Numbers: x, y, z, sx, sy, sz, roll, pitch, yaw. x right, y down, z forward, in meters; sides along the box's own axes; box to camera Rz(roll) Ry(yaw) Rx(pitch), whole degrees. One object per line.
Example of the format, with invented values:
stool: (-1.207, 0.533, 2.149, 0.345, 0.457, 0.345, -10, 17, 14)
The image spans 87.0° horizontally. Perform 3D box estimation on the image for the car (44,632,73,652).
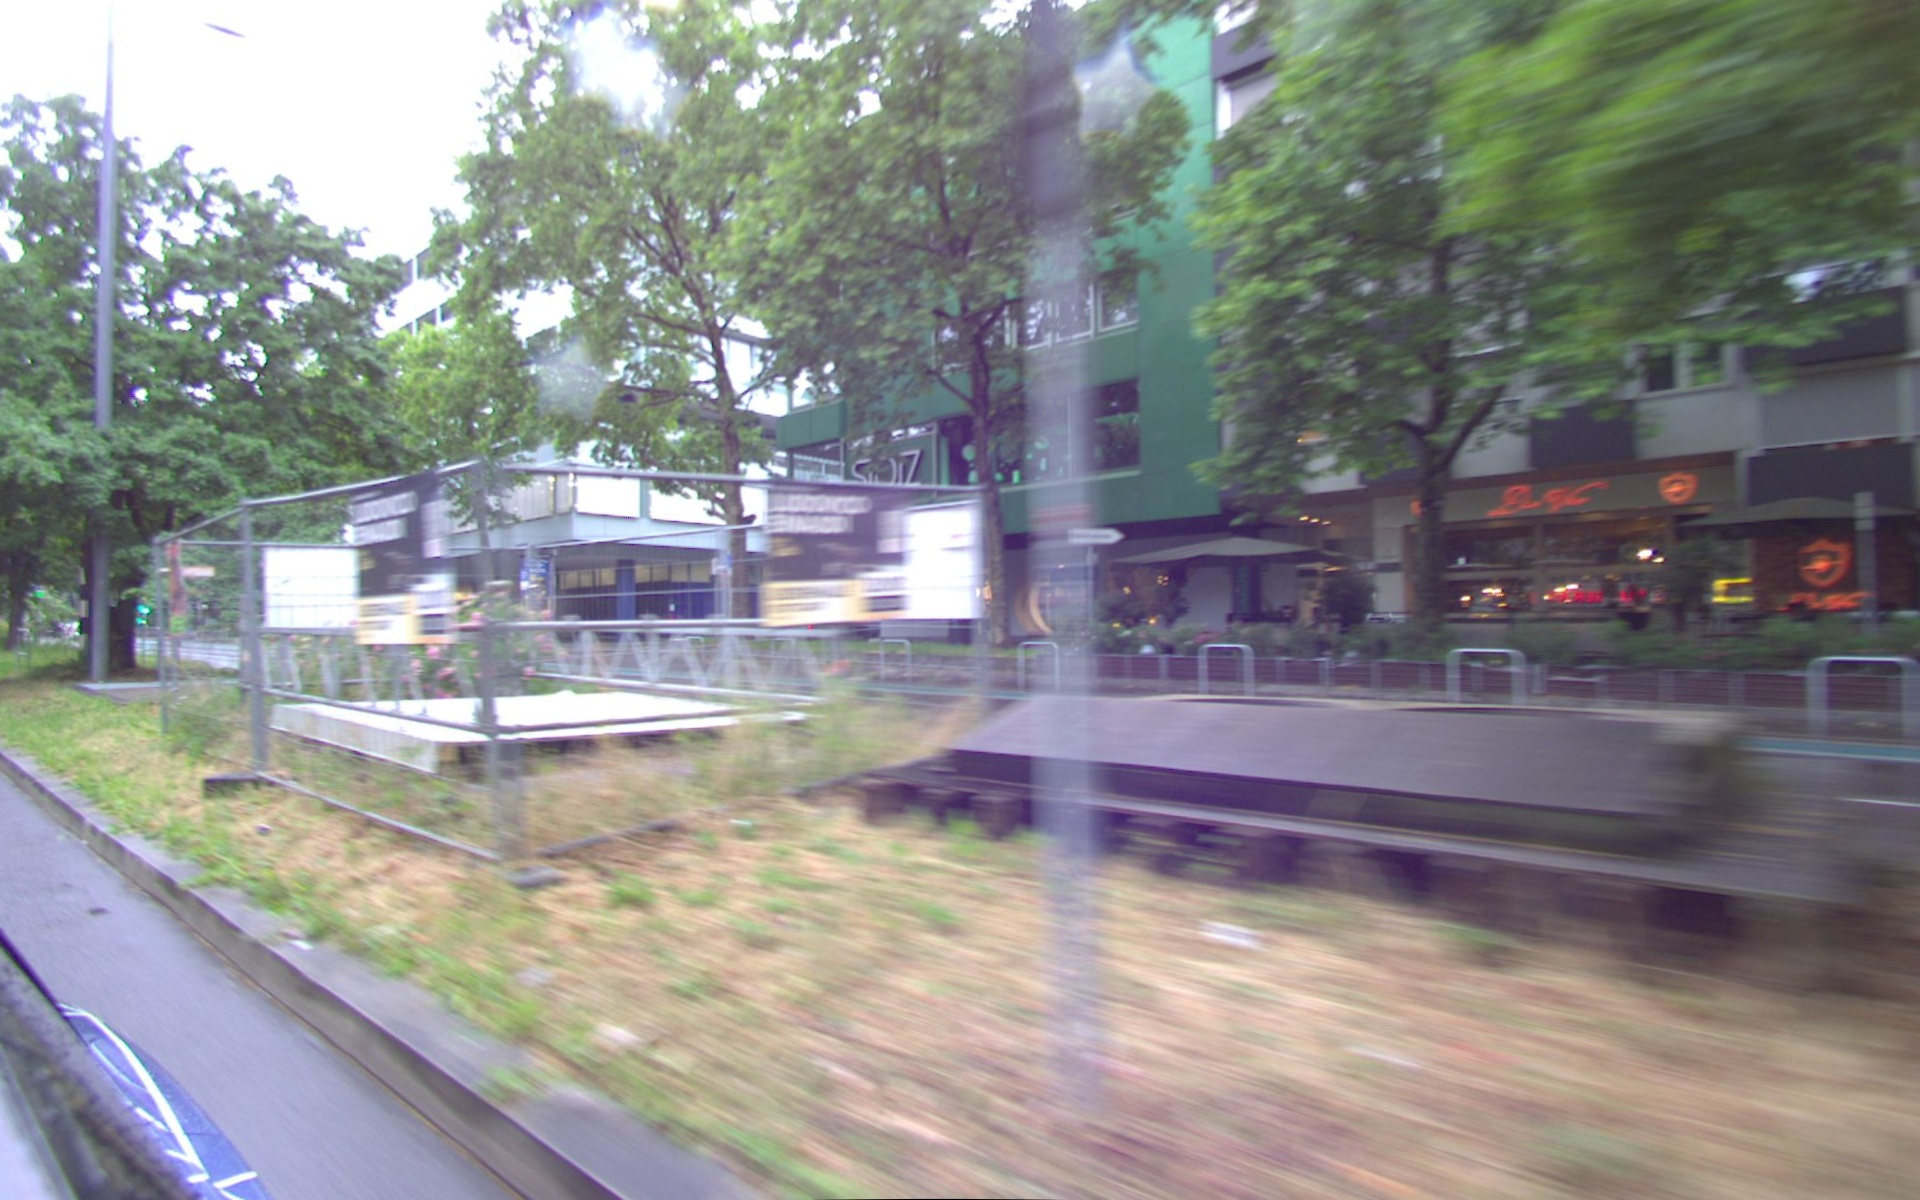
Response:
car: (-87.641, 4.076, 98.377, 1.970, 1.815, 4.285, 1, -2, -43)

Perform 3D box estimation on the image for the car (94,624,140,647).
car: (-58.447, 2.453, 70.138, 4.758, 1.503, 1.971, -2, -3, 45)

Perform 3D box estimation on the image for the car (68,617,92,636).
car: (-70.782, 2.113, 81.381, 3.561, 1.473, 1.148, -2, -2, 44)
